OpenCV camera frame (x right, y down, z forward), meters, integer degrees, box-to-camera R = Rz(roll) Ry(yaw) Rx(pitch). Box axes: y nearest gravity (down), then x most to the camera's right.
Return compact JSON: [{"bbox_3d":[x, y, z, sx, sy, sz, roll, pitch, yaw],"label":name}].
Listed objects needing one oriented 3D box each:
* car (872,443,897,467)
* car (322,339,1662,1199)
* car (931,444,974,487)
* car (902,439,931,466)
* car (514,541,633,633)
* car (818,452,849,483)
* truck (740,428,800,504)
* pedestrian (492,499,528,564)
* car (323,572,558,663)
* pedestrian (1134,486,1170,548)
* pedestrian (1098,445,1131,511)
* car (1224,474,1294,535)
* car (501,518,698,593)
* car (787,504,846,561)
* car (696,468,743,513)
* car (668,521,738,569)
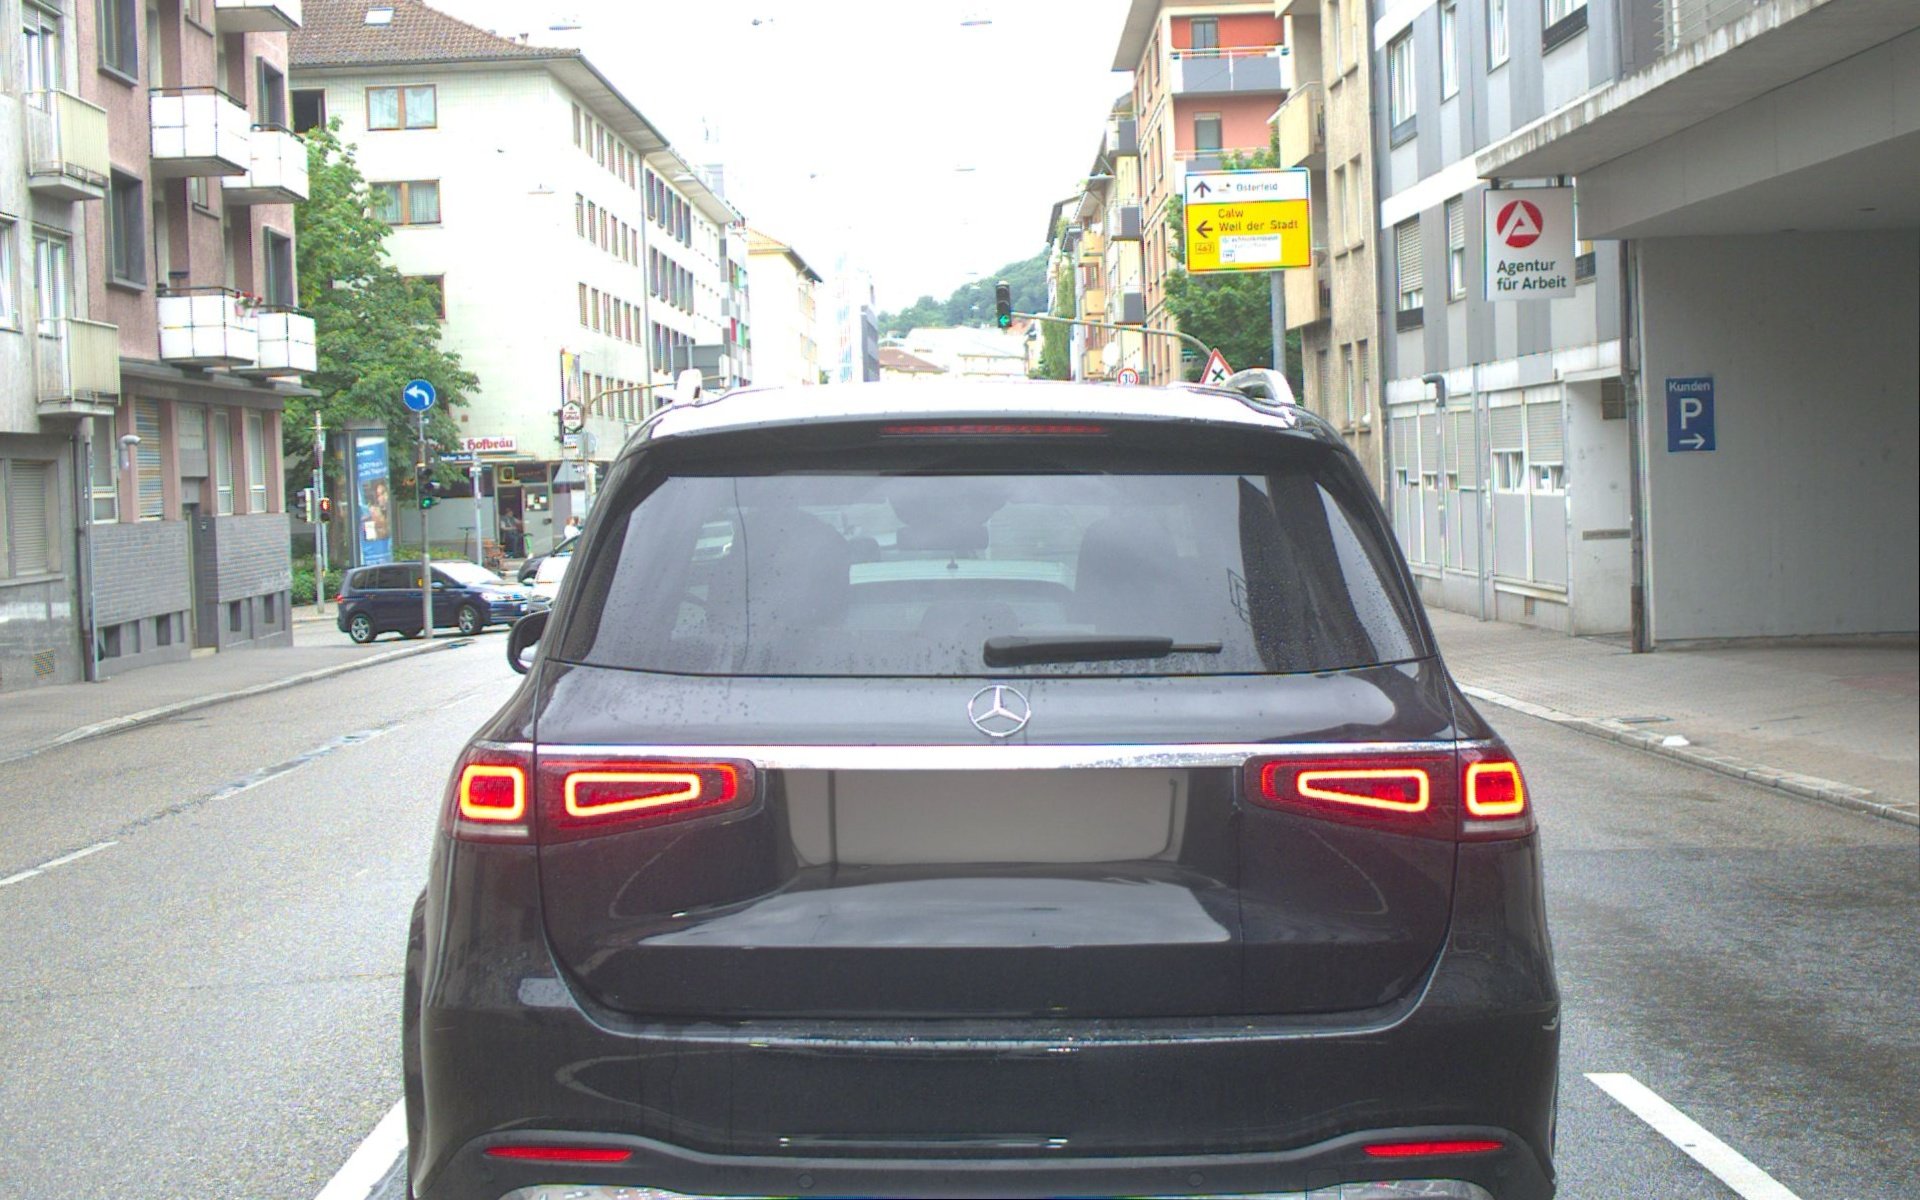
[{"bbox_3d":[-5.471,-10.519,250.161,1.618,1.534,4.218,-3,1,-3],"label":"car"},{"bbox_3d":[0.020,0.503,7.333,1.985,1.799,4.390,1,1,-1],"label":"car"},{"bbox_3d":[-0.373,-6.404,163.745,1.723,1.754,4.218,-3,0,-3],"label":"car"},{"bbox_3d":[-2.863,-9.696,225.826,1.618,1.534,4.218,-3,1,-3],"label":"car"},{"bbox_3d":[-7.141,-0.233,63.189,1.772,1.534,4.360,-3,1,-11],"label":"car"},{"bbox_3d":[-7.158,-7.453,193.627,1.618,1.534,4.218,-3,1,-3],"label":"car"},{"bbox_3d":[-8.624,-6.068,156.998,2.479,3.035,9.921,-3,1,-3],"label":"truck"},{"bbox_3d":[-13.341,-2.024,102.029,0.923,1.895,0.706,-2,1,-2],"label":"pedestrian"},{"bbox_3d":[-10.770,0.362,71.238,4.357,1.700,1.998,-2,1,24],"label":"car"},{"bbox_3d":[5.672,-2.455,101.465,0.923,1.798,0.706,-2,1,-2],"label":"pedestrian"},{"bbox_3d":[4.868,-3.838,108.177,0.923,2.007,0.706,-2,1,-2],"label":"pedestrian"},{"bbox_3d":[8.216,-2.612,94.600,1.671,1.583,3.330,-2,1,2],"label":"car"},{"bbox_3d":[-8.542,-1.054,81.575,4.208,1.534,1.819,-3,1,22],"label":"car"},{"bbox_3d":[-4.237,-1.970,101.212,1.618,1.534,4.218,-3,1,-3],"label":"car"},{"bbox_3d":[-9.185,-4.186,131.588,1.618,1.534,4.218,-3,1,-3],"label":"car"},{"bbox_3d":[-7.487,-1.580,100.416,1.885,1.260,4.218,-3,1,-3],"label":"car"}]
